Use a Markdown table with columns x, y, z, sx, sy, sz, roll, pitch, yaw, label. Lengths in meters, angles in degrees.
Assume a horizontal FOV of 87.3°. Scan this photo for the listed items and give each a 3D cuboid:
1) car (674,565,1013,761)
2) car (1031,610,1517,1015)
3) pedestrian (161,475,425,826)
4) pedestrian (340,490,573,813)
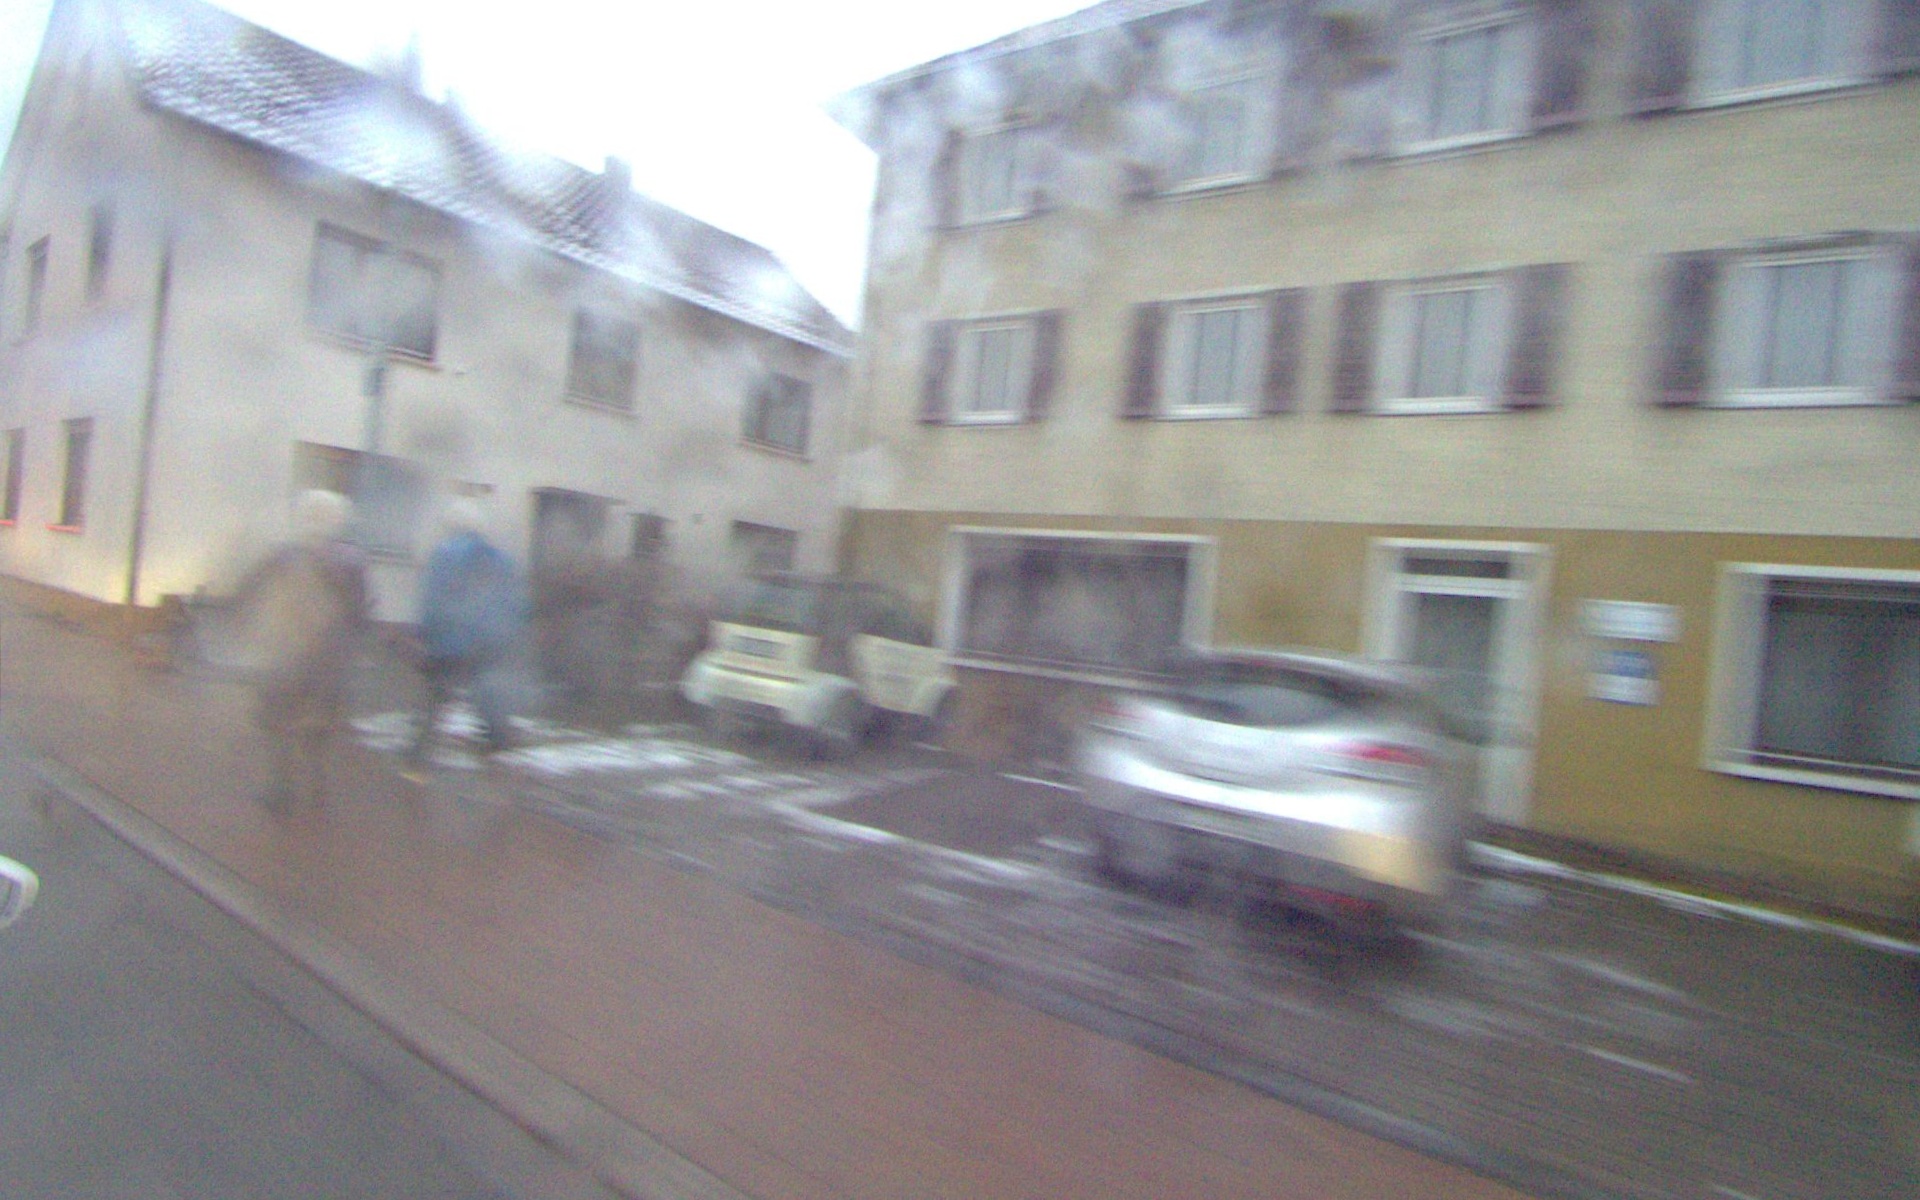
| x | y | z | sx | sy | sz | roll | pitch | yaw | label |
| --- | --- | --- | --- | --- | --- | --- | --- | --- | --- |
| -0.995 | 0.601 | 9.955 | 1.561 | 1.492 | 3.219 | 6 | 0 | 32 | car |
| 2.205 | 1.001 | 6.185 | 1.723 | 1.492 | 3.902 | 6 | 0 | 33 | car |
| -3.623 | 0.230 | 5.464 | 0.977 | 1.689 | 0.865 | 7 | 3 | 39 | pedestrian |
| -3.064 | 0.275 | 6.122 | 0.957 | 1.756 | 0.847 | 7 | 3 | 39 | pedestrian |
